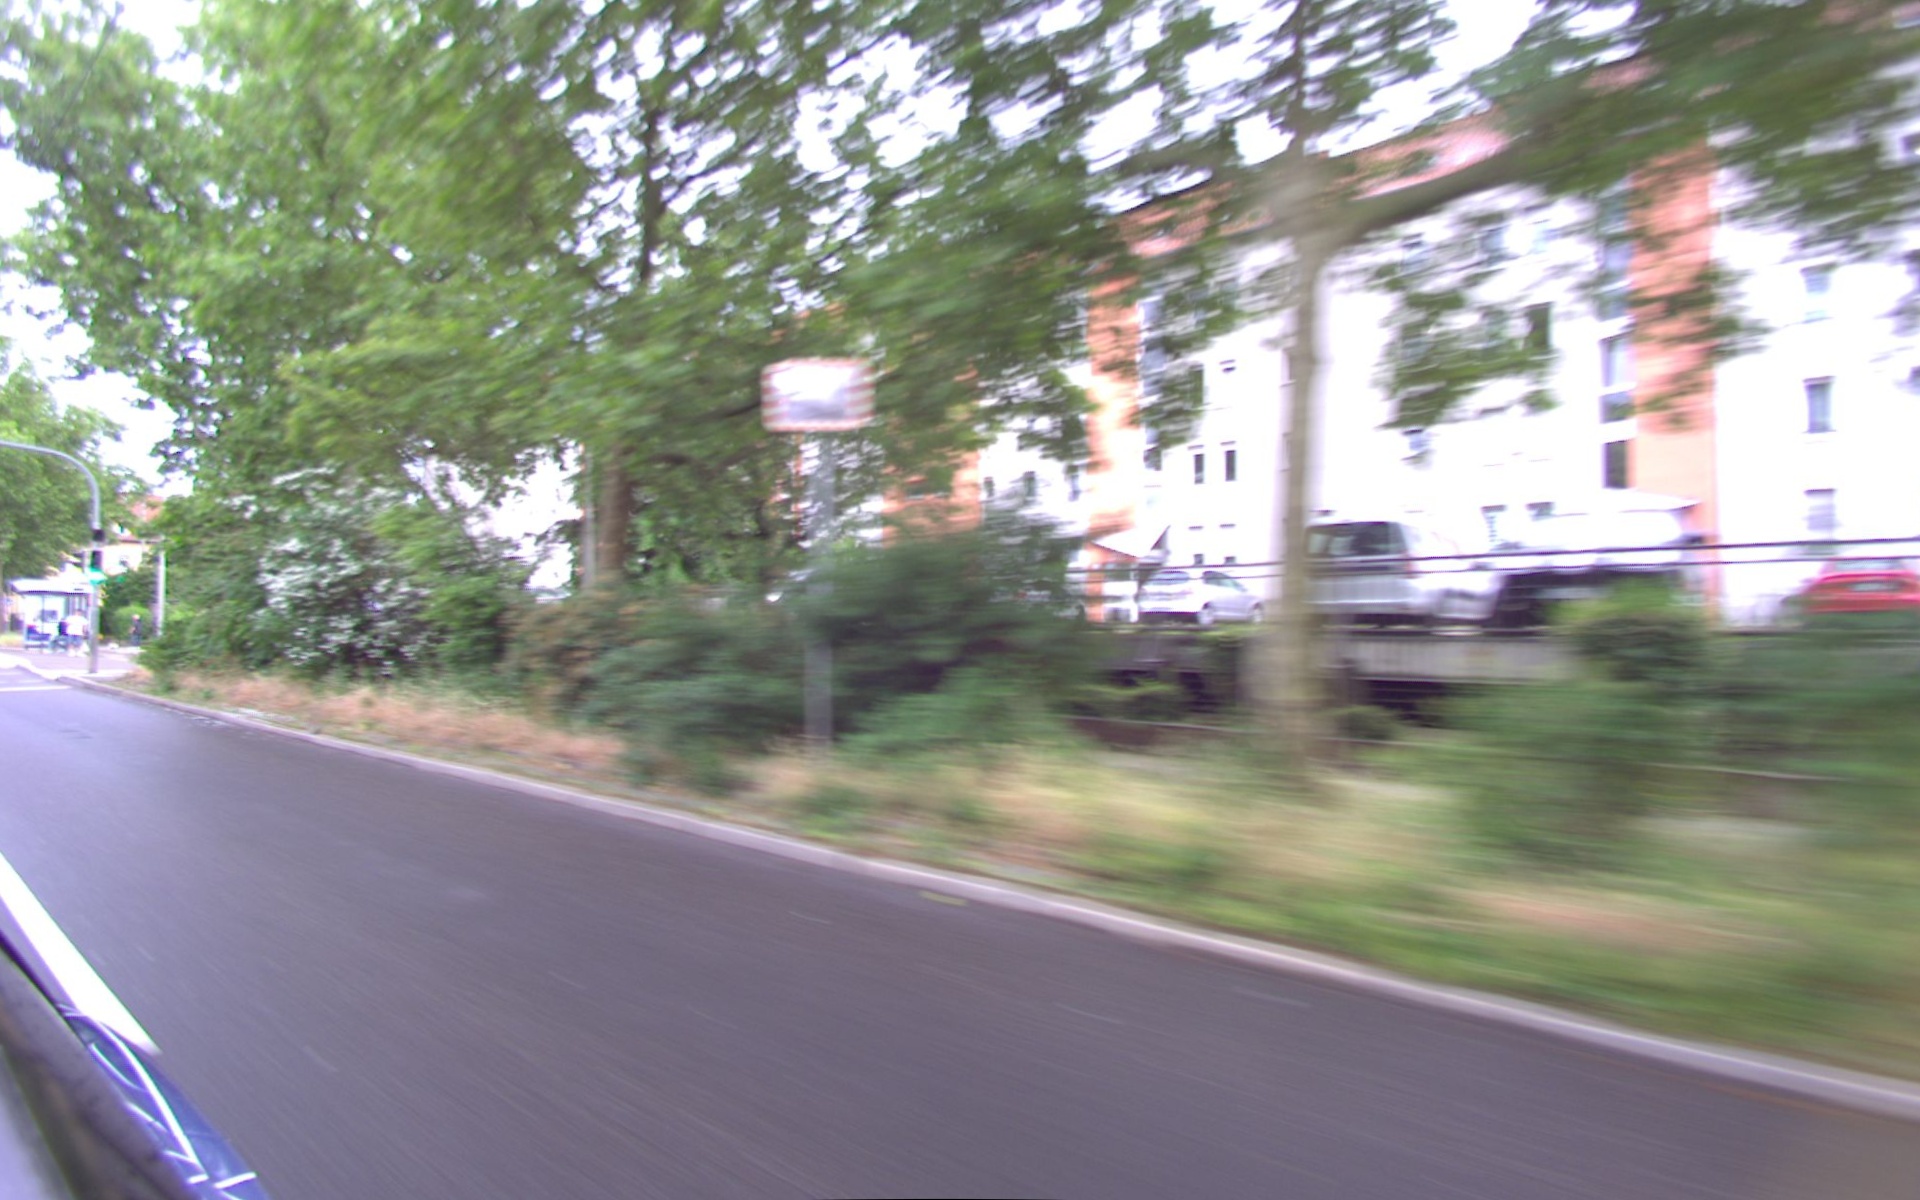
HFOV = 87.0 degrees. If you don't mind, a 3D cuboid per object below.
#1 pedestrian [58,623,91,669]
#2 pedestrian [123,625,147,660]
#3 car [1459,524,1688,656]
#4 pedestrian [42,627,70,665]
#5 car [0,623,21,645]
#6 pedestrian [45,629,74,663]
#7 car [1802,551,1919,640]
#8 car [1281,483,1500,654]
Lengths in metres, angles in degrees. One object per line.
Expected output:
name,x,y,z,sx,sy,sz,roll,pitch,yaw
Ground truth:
pedestrian,-32.393,1.673,37.030,0.607,1.610,0.733,1,-4,44
pedestrian,-39.708,2.043,48.706,0.833,1.622,0.748,1,1,37
car,7.741,-0.055,12.563,1.855,1.332,4.401,-1,-2,39
pedestrian,-35.631,1.802,39.878,0.641,1.429,0.680,1,-3,44
car,-71.791,2.549,74.113,1.980,1.550,4.166,1,2,39
pedestrian,-36.259,1.860,40.751,0.641,1.327,0.766,1,-3,44
car,16.359,-0.038,18.338,1.664,1.442,3.946,-1,-2,40
car,6.136,-0.335,14.170,1.717,2.029,4.126,-1,-2,39
